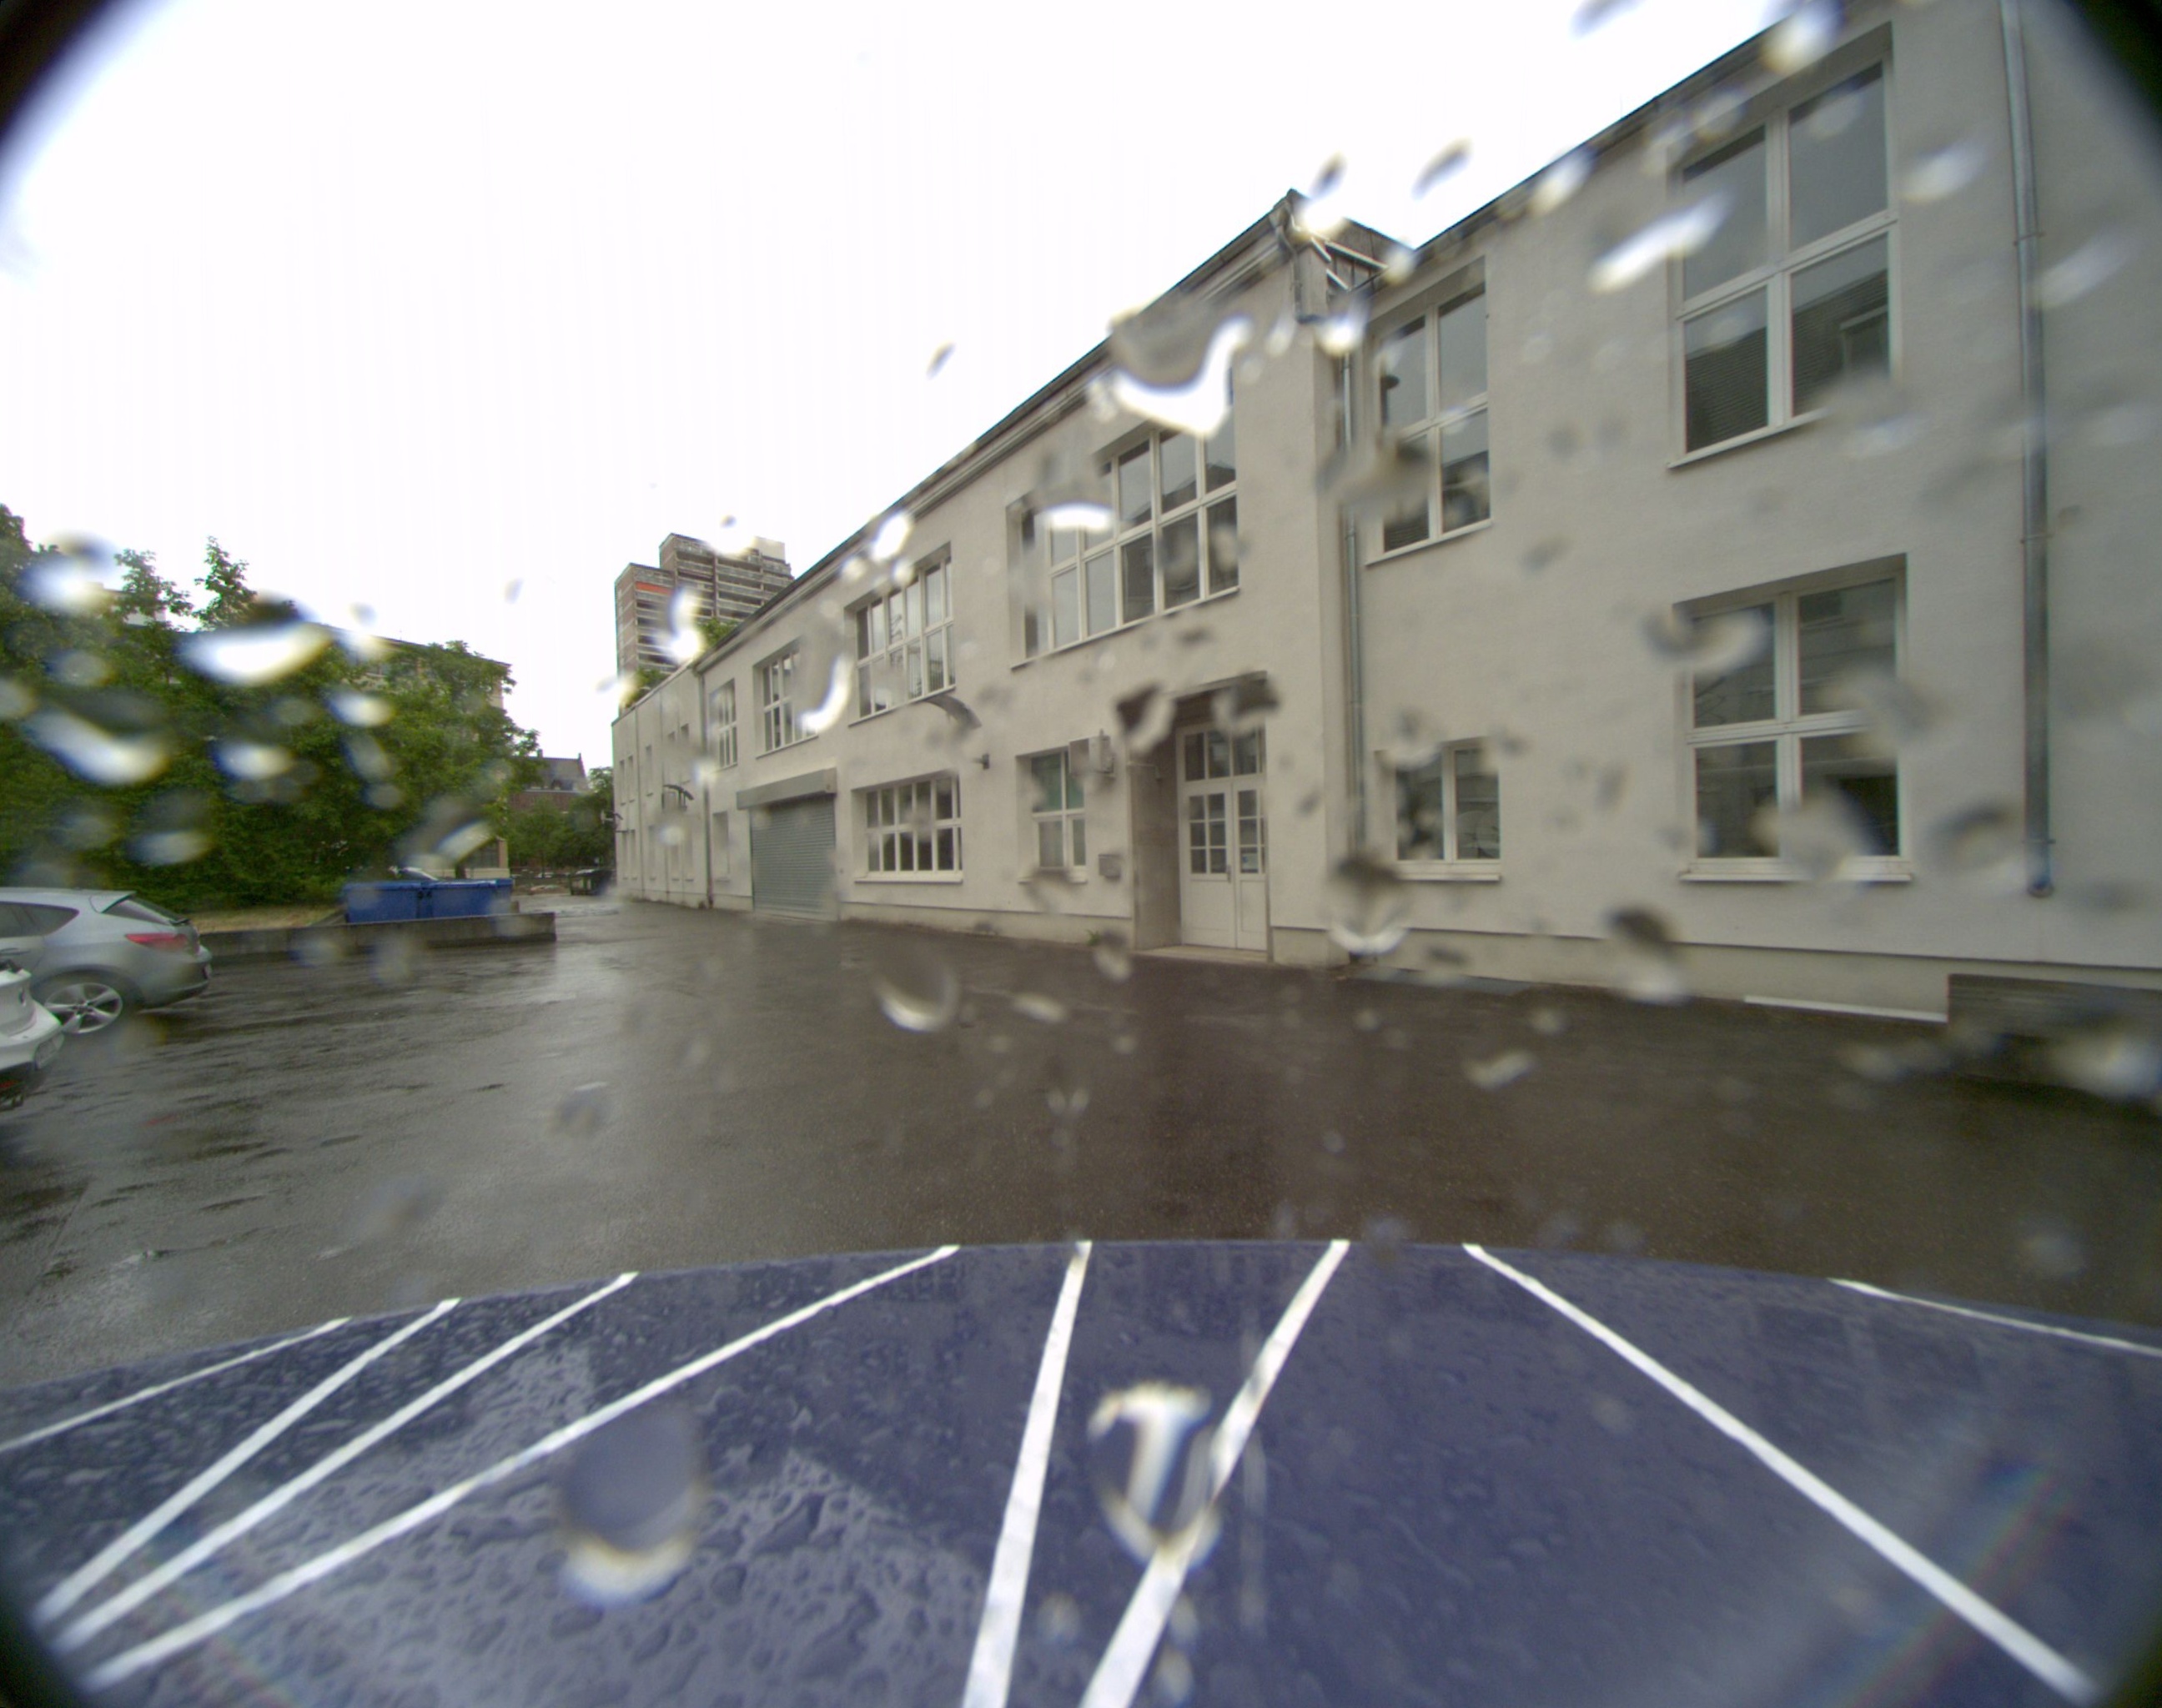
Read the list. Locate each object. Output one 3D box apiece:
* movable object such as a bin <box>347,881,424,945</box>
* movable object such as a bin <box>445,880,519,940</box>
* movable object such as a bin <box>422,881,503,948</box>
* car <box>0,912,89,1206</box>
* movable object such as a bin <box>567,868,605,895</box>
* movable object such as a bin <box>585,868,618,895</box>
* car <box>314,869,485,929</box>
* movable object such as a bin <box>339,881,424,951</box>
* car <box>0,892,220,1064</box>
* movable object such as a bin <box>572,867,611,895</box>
[{"bbox_3d":[-16.643,1.396,18.229,1.236,1.350,1.966,-4,0,-41],"label":"movable object such as a bin"},{"bbox_3d":[-15.257,1.402,19.338,1.316,1.350,1.900,-4,0,-41],"label":"movable object such as a bin"},{"bbox_3d":[-14.345,1.373,17.597,1.316,1.350,1.900,-4,0,-41],"label":"movable object such as a bin"},{"bbox_3d":[-7.835,1.173,3.164,4.229,1.481,1.995,-2,0,-45],"label":"car"},{"bbox_3d":[-28.409,1.570,43.600,1.310,1.440,1.495,-4,0,44],"label":"movable object such as a bin"},{"bbox_3d":[-26.252,1.513,41.619,1.310,1.366,1.190,-4,0,44],"label":"movable object such as a bin"},{"bbox_3d":[-26.155,1.707,29.417,4.706,1.870,2.118,-4,-1,-39],"label":"car"},{"bbox_3d":[-15.340,1.344,16.719,1.236,1.350,1.966,-4,0,-41],"label":"movable object such as a bin"},{"bbox_3d":[-11.209,1.220,6.959,4.229,1.481,1.995,-2,0,-45],"label":"car"},{"bbox_3d":[-27.454,1.530,42.652,1.310,1.440,1.495,-4,0,44],"label":"movable object such as a bin"}]
